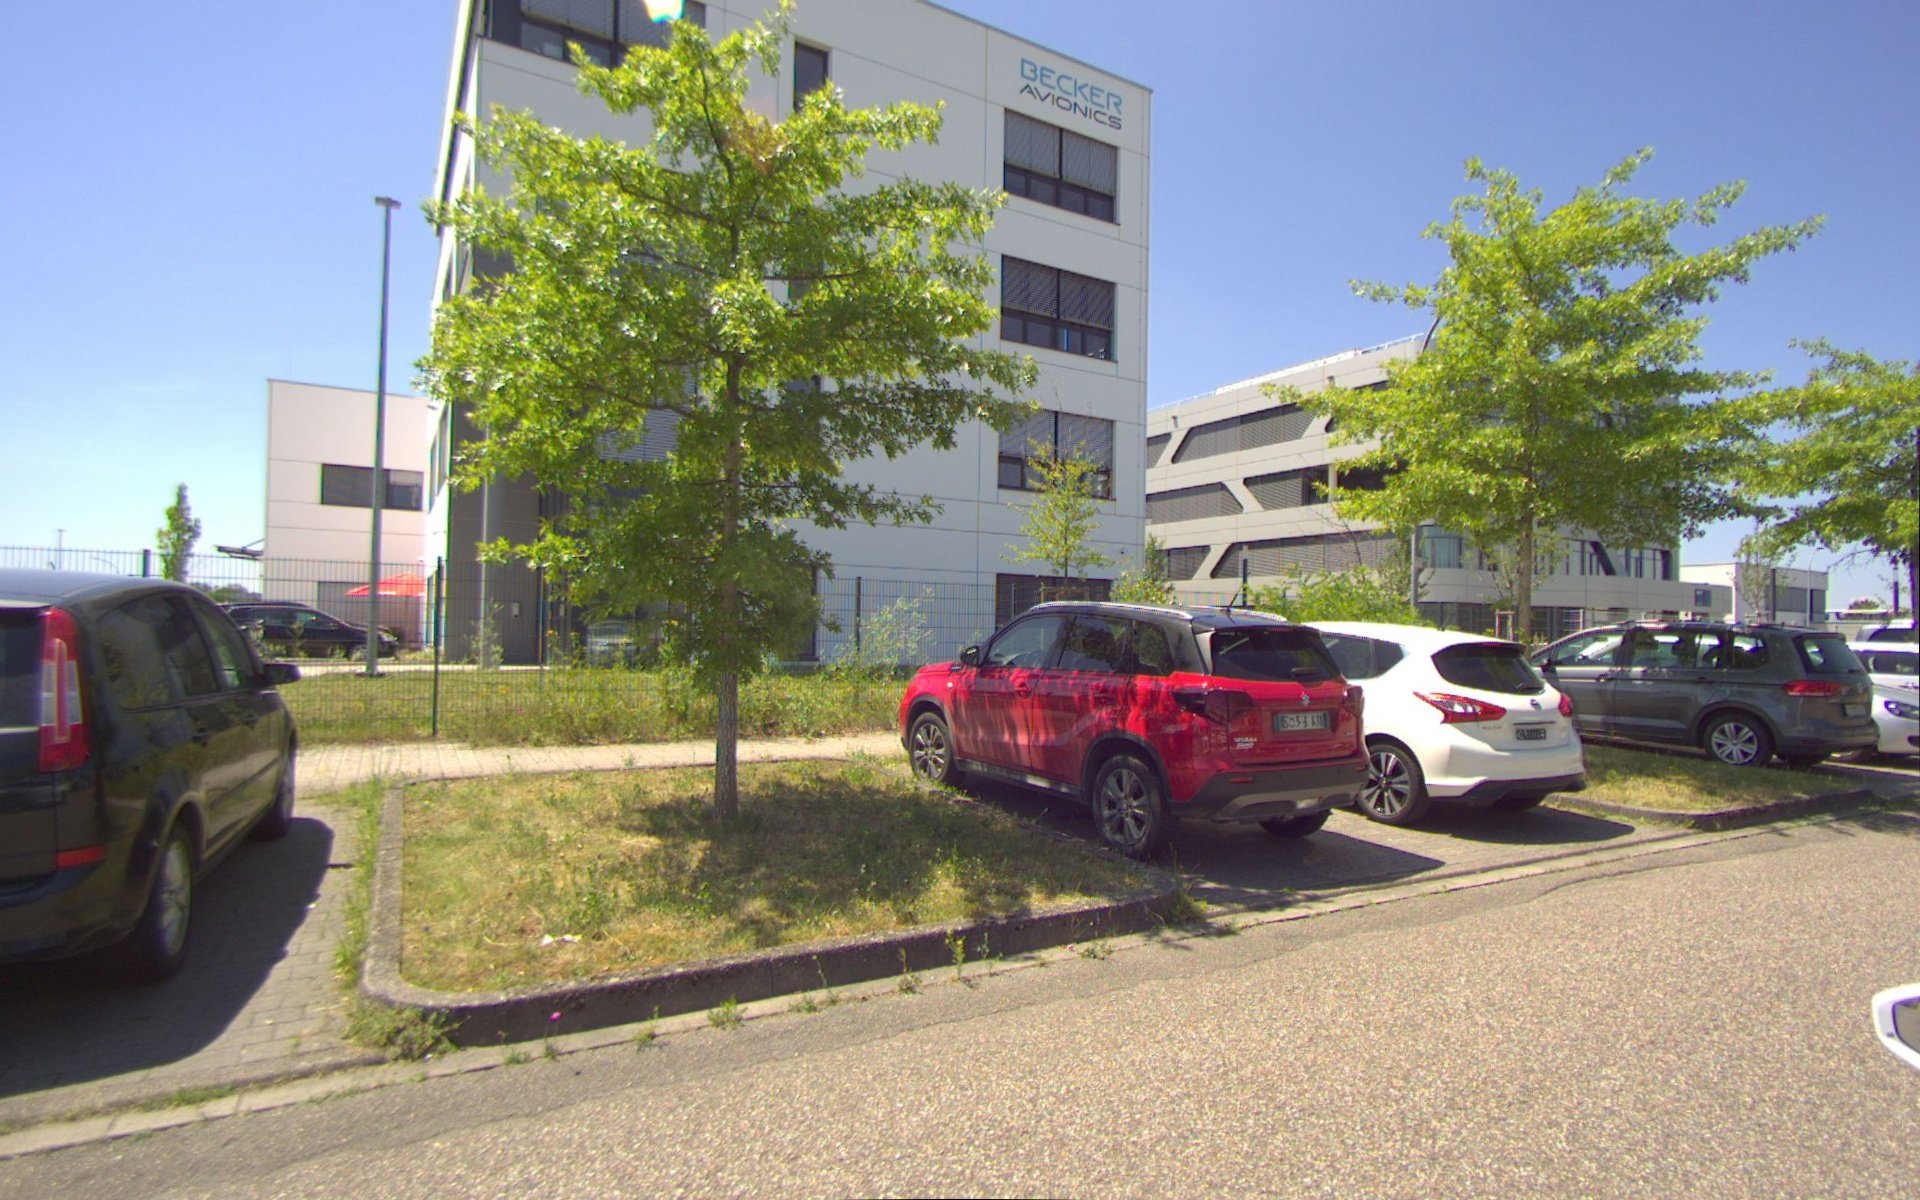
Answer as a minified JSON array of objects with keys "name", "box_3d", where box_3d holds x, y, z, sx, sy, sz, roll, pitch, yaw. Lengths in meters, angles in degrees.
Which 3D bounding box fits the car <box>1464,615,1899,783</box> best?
[{"name":"car","box_3d":[8.759,1.069,12.596,1.707,1.656,4.097,1,0,-30]}]

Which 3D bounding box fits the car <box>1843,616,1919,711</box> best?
[{"name":"car","box_3d":[20.940,1.323,19.735,1.972,1.917,5.050,2,-1,-28]}]

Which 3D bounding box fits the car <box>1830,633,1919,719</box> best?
[{"name":"car","box_3d":[18.507,1.435,18.064,1.742,1.504,3.951,2,0,-29]}]

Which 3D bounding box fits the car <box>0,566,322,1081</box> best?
[{"name":"car","box_3d":[-4.281,0.683,4.686,1.704,1.613,3.894,1,0,-25]}]

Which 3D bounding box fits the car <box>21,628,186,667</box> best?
[{"name":"car","box_3d":[-31.159,1.737,36.713,4.289,1.357,1.767,2,-2,-31]}]

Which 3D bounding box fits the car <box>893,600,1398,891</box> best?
[{"name":"car","box_3d":[1.133,0.836,7.730,1.708,1.613,3.818,1,0,-31]}]

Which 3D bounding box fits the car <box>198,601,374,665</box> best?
[{"name":"car","box_3d":[-18.765,0.946,28.212,3.955,1.706,1.767,2,-2,-31]}]

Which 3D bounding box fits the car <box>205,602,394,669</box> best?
[{"name":"car","box_3d":[-17.019,0.945,26.104,3.955,1.623,1.767,2,-2,-31]}]

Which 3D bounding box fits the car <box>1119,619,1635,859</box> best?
[{"name":"car","box_3d":[3.424,0.990,9.118,1.784,1.533,4.155,0,0,-28]}]

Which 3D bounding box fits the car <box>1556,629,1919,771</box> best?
[{"name":"car","box_3d":[10.711,1.213,13.564,1.708,1.493,4.288,1,0,-31]}]

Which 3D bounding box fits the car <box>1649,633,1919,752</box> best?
[{"name":"car","box_3d":[12.957,1.290,14.451,1.837,1.466,4.686,1,0,-32]}]

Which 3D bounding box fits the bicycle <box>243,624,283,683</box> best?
[{"name":"bicycle","box_3d":[-12.400,0.942,17.888,0.456,0.995,1.584,2,-2,-31]}]
